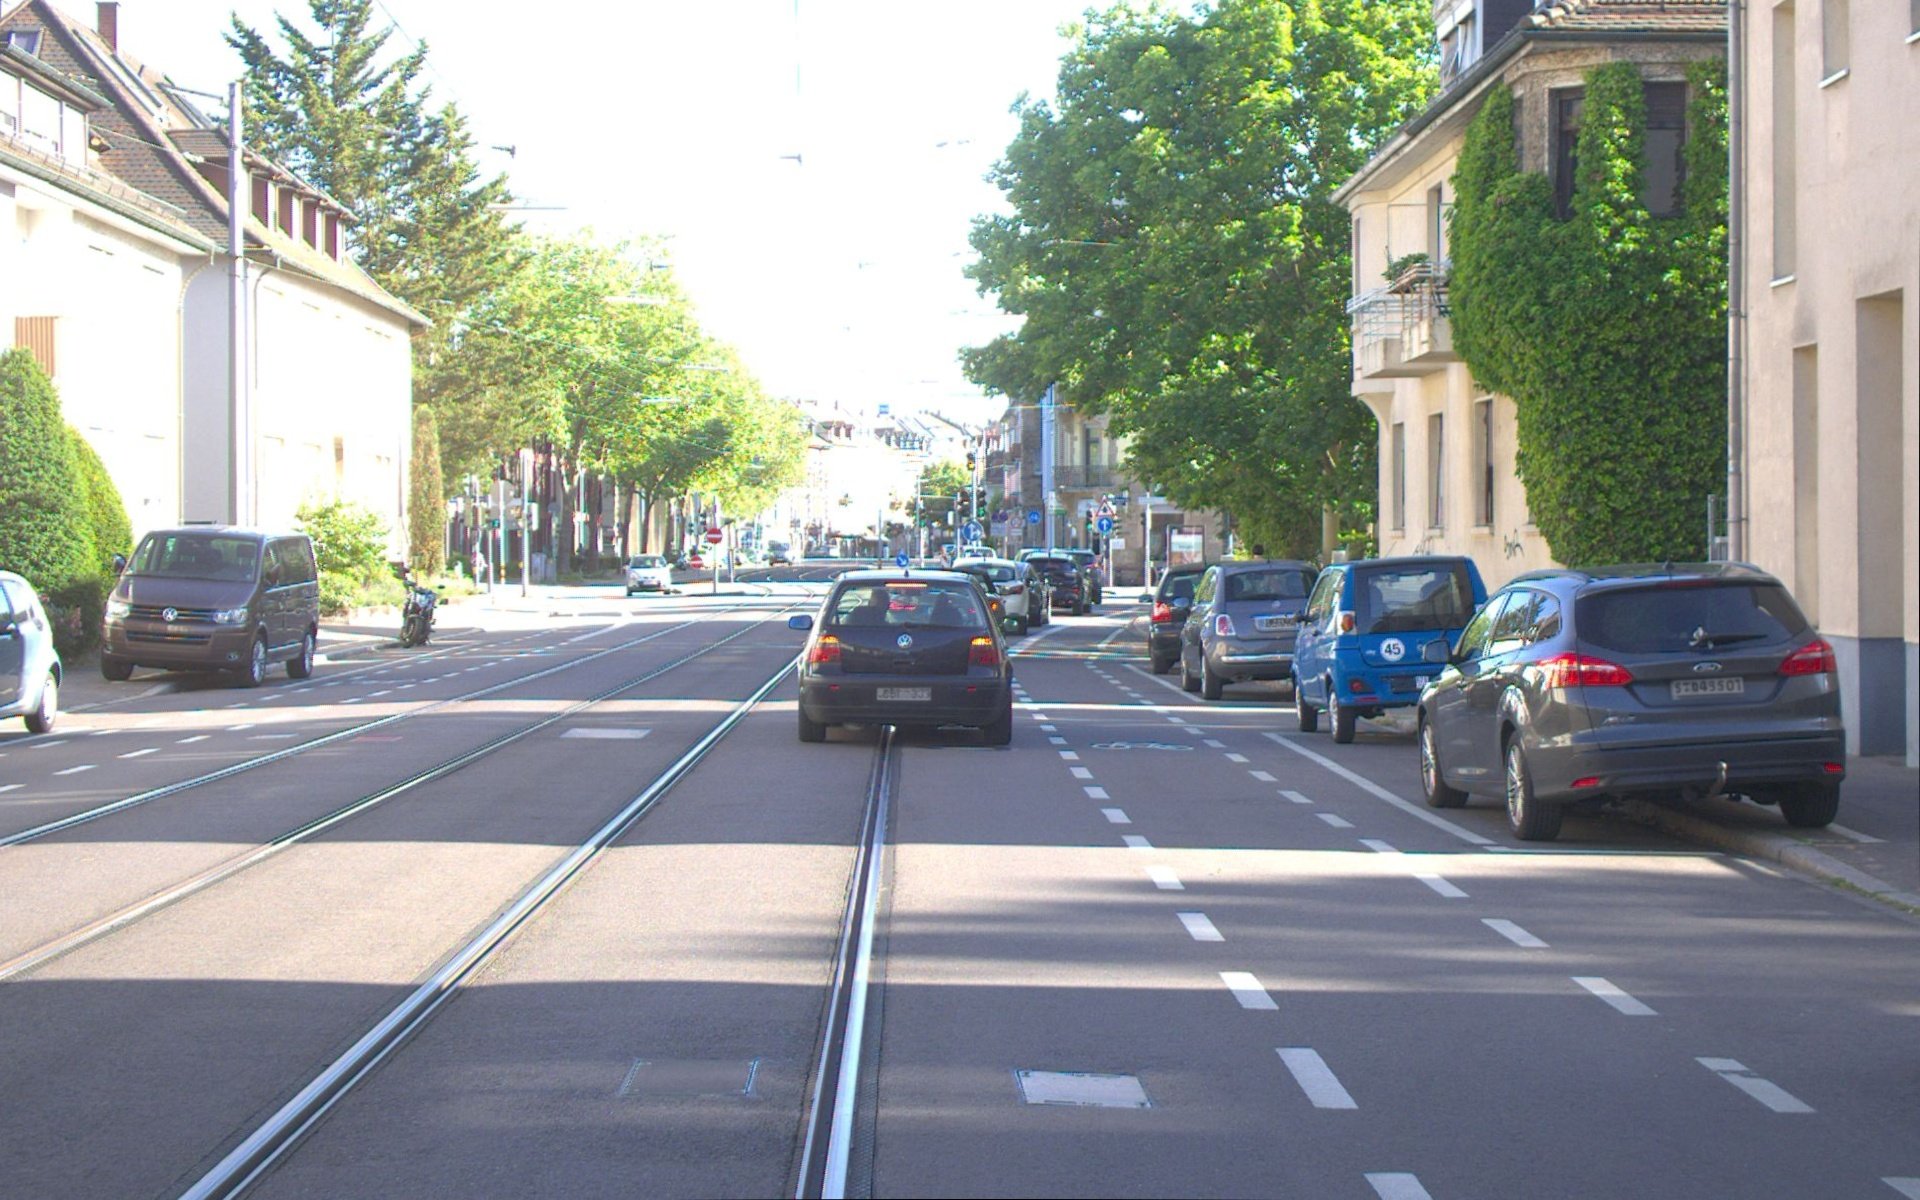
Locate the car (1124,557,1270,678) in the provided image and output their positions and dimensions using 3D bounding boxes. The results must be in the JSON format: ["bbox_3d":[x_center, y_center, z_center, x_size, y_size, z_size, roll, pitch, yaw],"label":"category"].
[{"bbox_3d":[3.202,0.208,47.001,1.665,1.558,3.771,1,1,-1],"label":"car"}]

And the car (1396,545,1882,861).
[{"bbox_3d":[3.811,0.502,20.076,1.744,1.593,4.434,1,1,-3],"label":"car"}]

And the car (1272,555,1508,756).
[{"bbox_3d":[3.676,0.437,29.814,1.457,1.593,3.294,1,1,-3],"label":"car"}]

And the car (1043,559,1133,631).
[{"bbox_3d":[2.679,-0.129,72.440,1.569,1.306,3.648,-1,3,-3],"label":"car"}]

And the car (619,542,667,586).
[{"bbox_3d":[-10.959,-1.253,118.849,1.575,1.472,3.441,-1,1,-4],"label":"car"}]

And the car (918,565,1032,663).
[{"bbox_3d":[0.216,0.181,51.276,1.634,1.367,3.757,0,1,0],"label":"car"}]

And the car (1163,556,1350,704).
[{"bbox_3d":[3.272,0.300,38.523,1.601,1.520,3.550,1,1,-3],"label":"car"}]

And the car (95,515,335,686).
[{"bbox_3d":[-9.402,-0.037,43.775,1.906,2.007,4.949,1,1,0],"label":"car"}]

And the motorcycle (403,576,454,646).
[{"bbox_3d":[-9.188,0.177,59.485,0.536,1.158,2.172,-2,1,0],"label":"motorcycle"}]

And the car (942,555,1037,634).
[{"bbox_3d":[0.530,-0.127,65.219,1.740,1.436,3.810,0,1,-1],"label":"car"}]

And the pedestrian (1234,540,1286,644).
[{"bbox_3d":[4.948,-0.137,56.788,0.717,1.682,0.870,-1,1,-2],"label":"pedestrian"}]

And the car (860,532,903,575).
[{"bbox_3d":[-3.490,-2.072,152.460,1.787,1.853,4.001,2,1,-2],"label":"car"}]

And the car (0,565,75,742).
[{"bbox_3d":[-8.994,0.446,29.786,1.676,1.472,3.835,1,1,-1],"label":"car"}]

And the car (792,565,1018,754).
[{"bbox_3d":[-0.442,0.441,28.596,1.716,1.398,4.006,1,1,-1],"label":"car"}]

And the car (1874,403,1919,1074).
[{"bbox_3d":[3.850,0.462,8.305,1.905,1.980,4.563,1,1,-2],"label":"car"}]
